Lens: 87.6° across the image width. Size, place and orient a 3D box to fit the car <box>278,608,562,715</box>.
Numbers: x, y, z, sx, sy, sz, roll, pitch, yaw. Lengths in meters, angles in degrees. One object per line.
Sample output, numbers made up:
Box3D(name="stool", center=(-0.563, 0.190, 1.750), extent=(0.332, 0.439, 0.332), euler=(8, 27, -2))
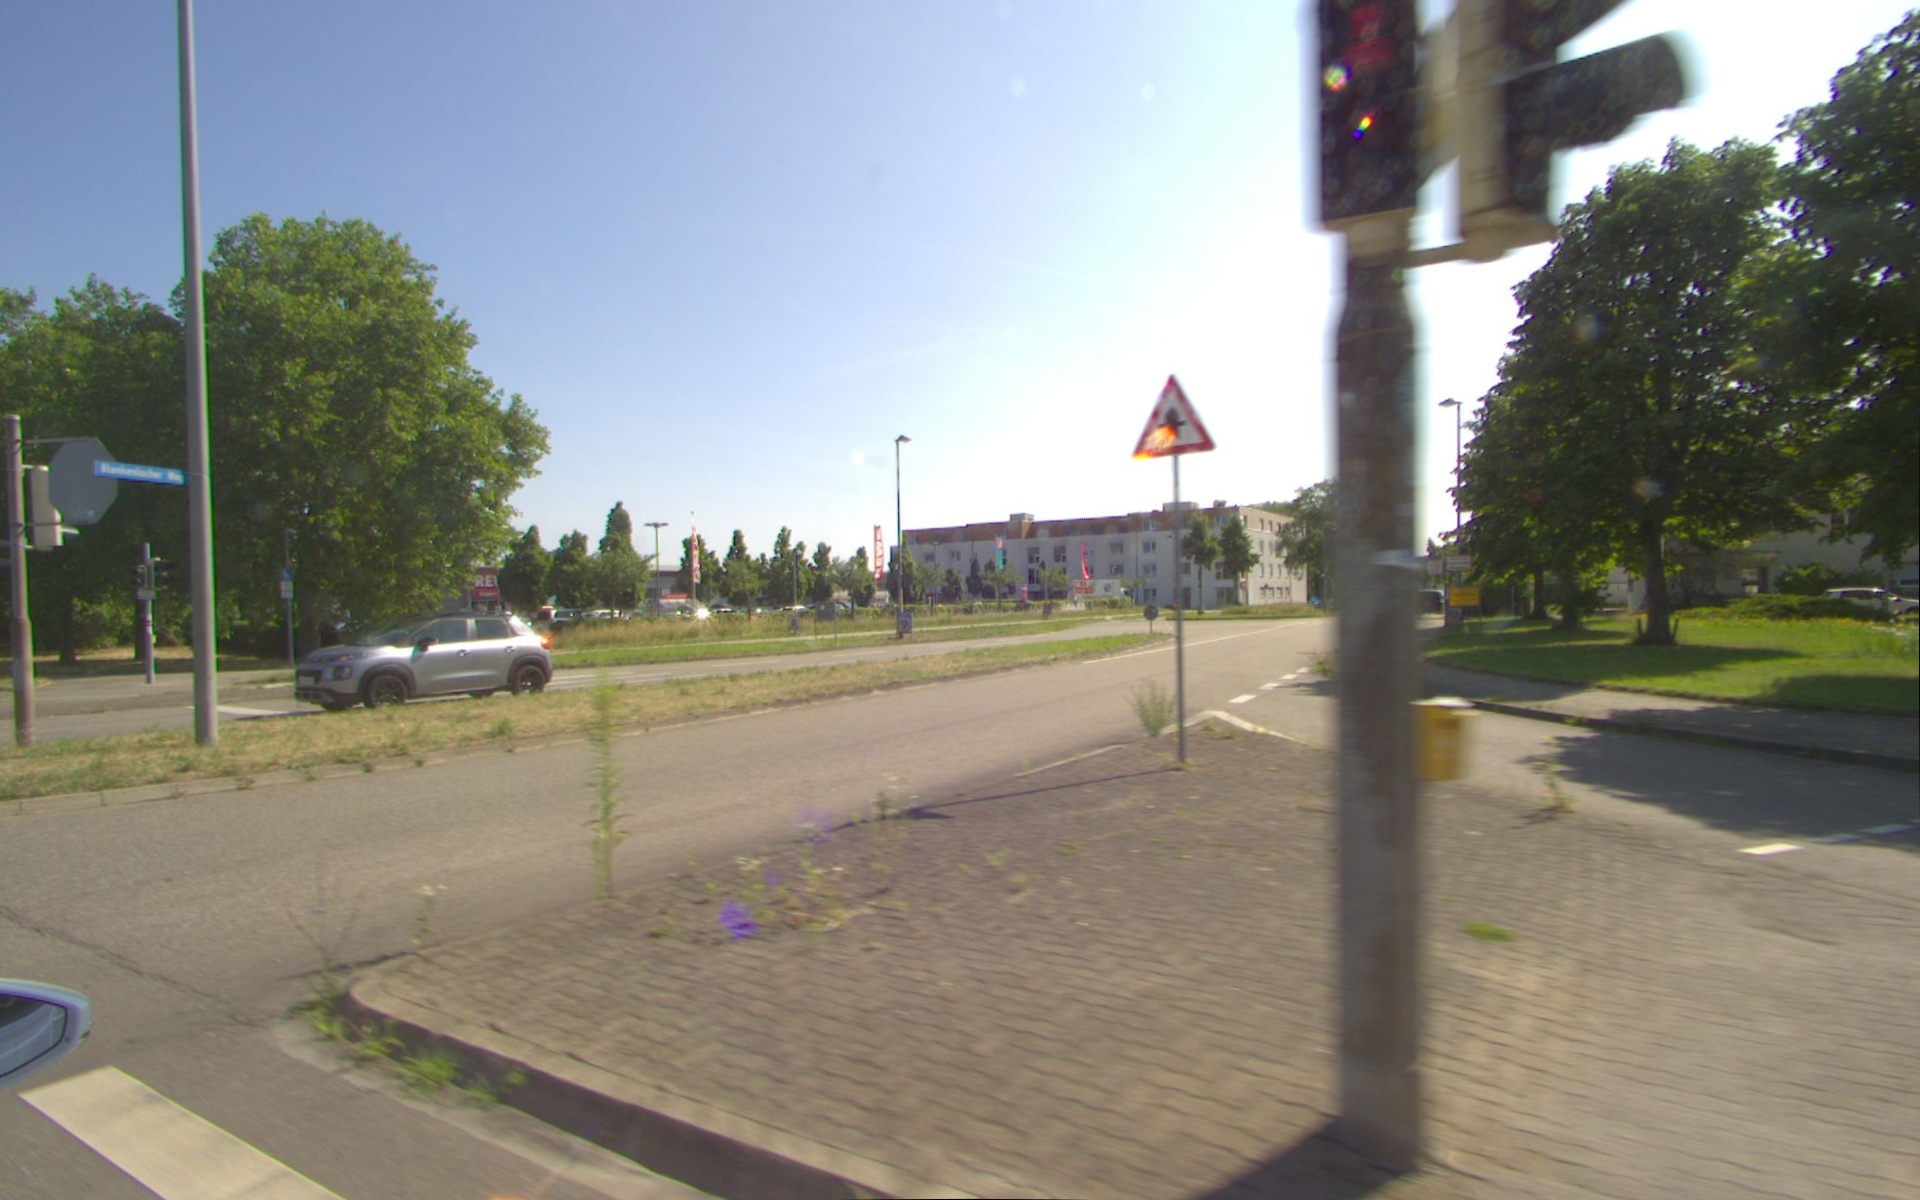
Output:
Box3D(name="car", center=(-9.283, 0.973, 17.538), extent=(1.718, 1.584, 4.043), euler=(-1, 0, 32))

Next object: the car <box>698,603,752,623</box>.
Box3D(name="car", center=(-21.673, 1.181, 92.326), extent=(4.450, 1.774, 1.974), euler=(-1, 0, -36))

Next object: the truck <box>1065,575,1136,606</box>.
Box3D(name="truck", center=(16.952, -1.118, 120.964), extent=(8.102, 3.593, 2.630), euler=(-1, 0, -14))

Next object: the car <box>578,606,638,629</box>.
Box3D(name="car", center=(-29.924, 1.482, 85.265), extent=(1.962, 1.774, 4.476), euler=(-1, 0, 37))

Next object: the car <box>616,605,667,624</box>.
Box3D(name="car", center=(-31.901, 1.419, 100.356), extent=(1.967, 1.774, 4.466), euler=(-1, 0, 43))

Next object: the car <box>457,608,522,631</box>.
Box3D(name="car", center=(-38.674, 1.597, 82.409), extent=(1.962, 1.774, 4.476), euler=(-1, 0, 37))

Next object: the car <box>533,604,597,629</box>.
Box3D(name="car", center=(-29.427, 1.239, 74.679), extent=(1.977, 1.751, 3.968), euler=(-1, 0, 40))

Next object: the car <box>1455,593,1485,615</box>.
Box3D(name="car", center=(48.946, 0.420, 96.099), extent=(1.974, 1.950, 3.975), euler=(-1, -2, 36))

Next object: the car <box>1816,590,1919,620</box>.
Box3D(name="car", center=(41.403, 0.221, 45.249), extent=(3.945, 1.305, 1.723), euler=(-1, 0, 34))
